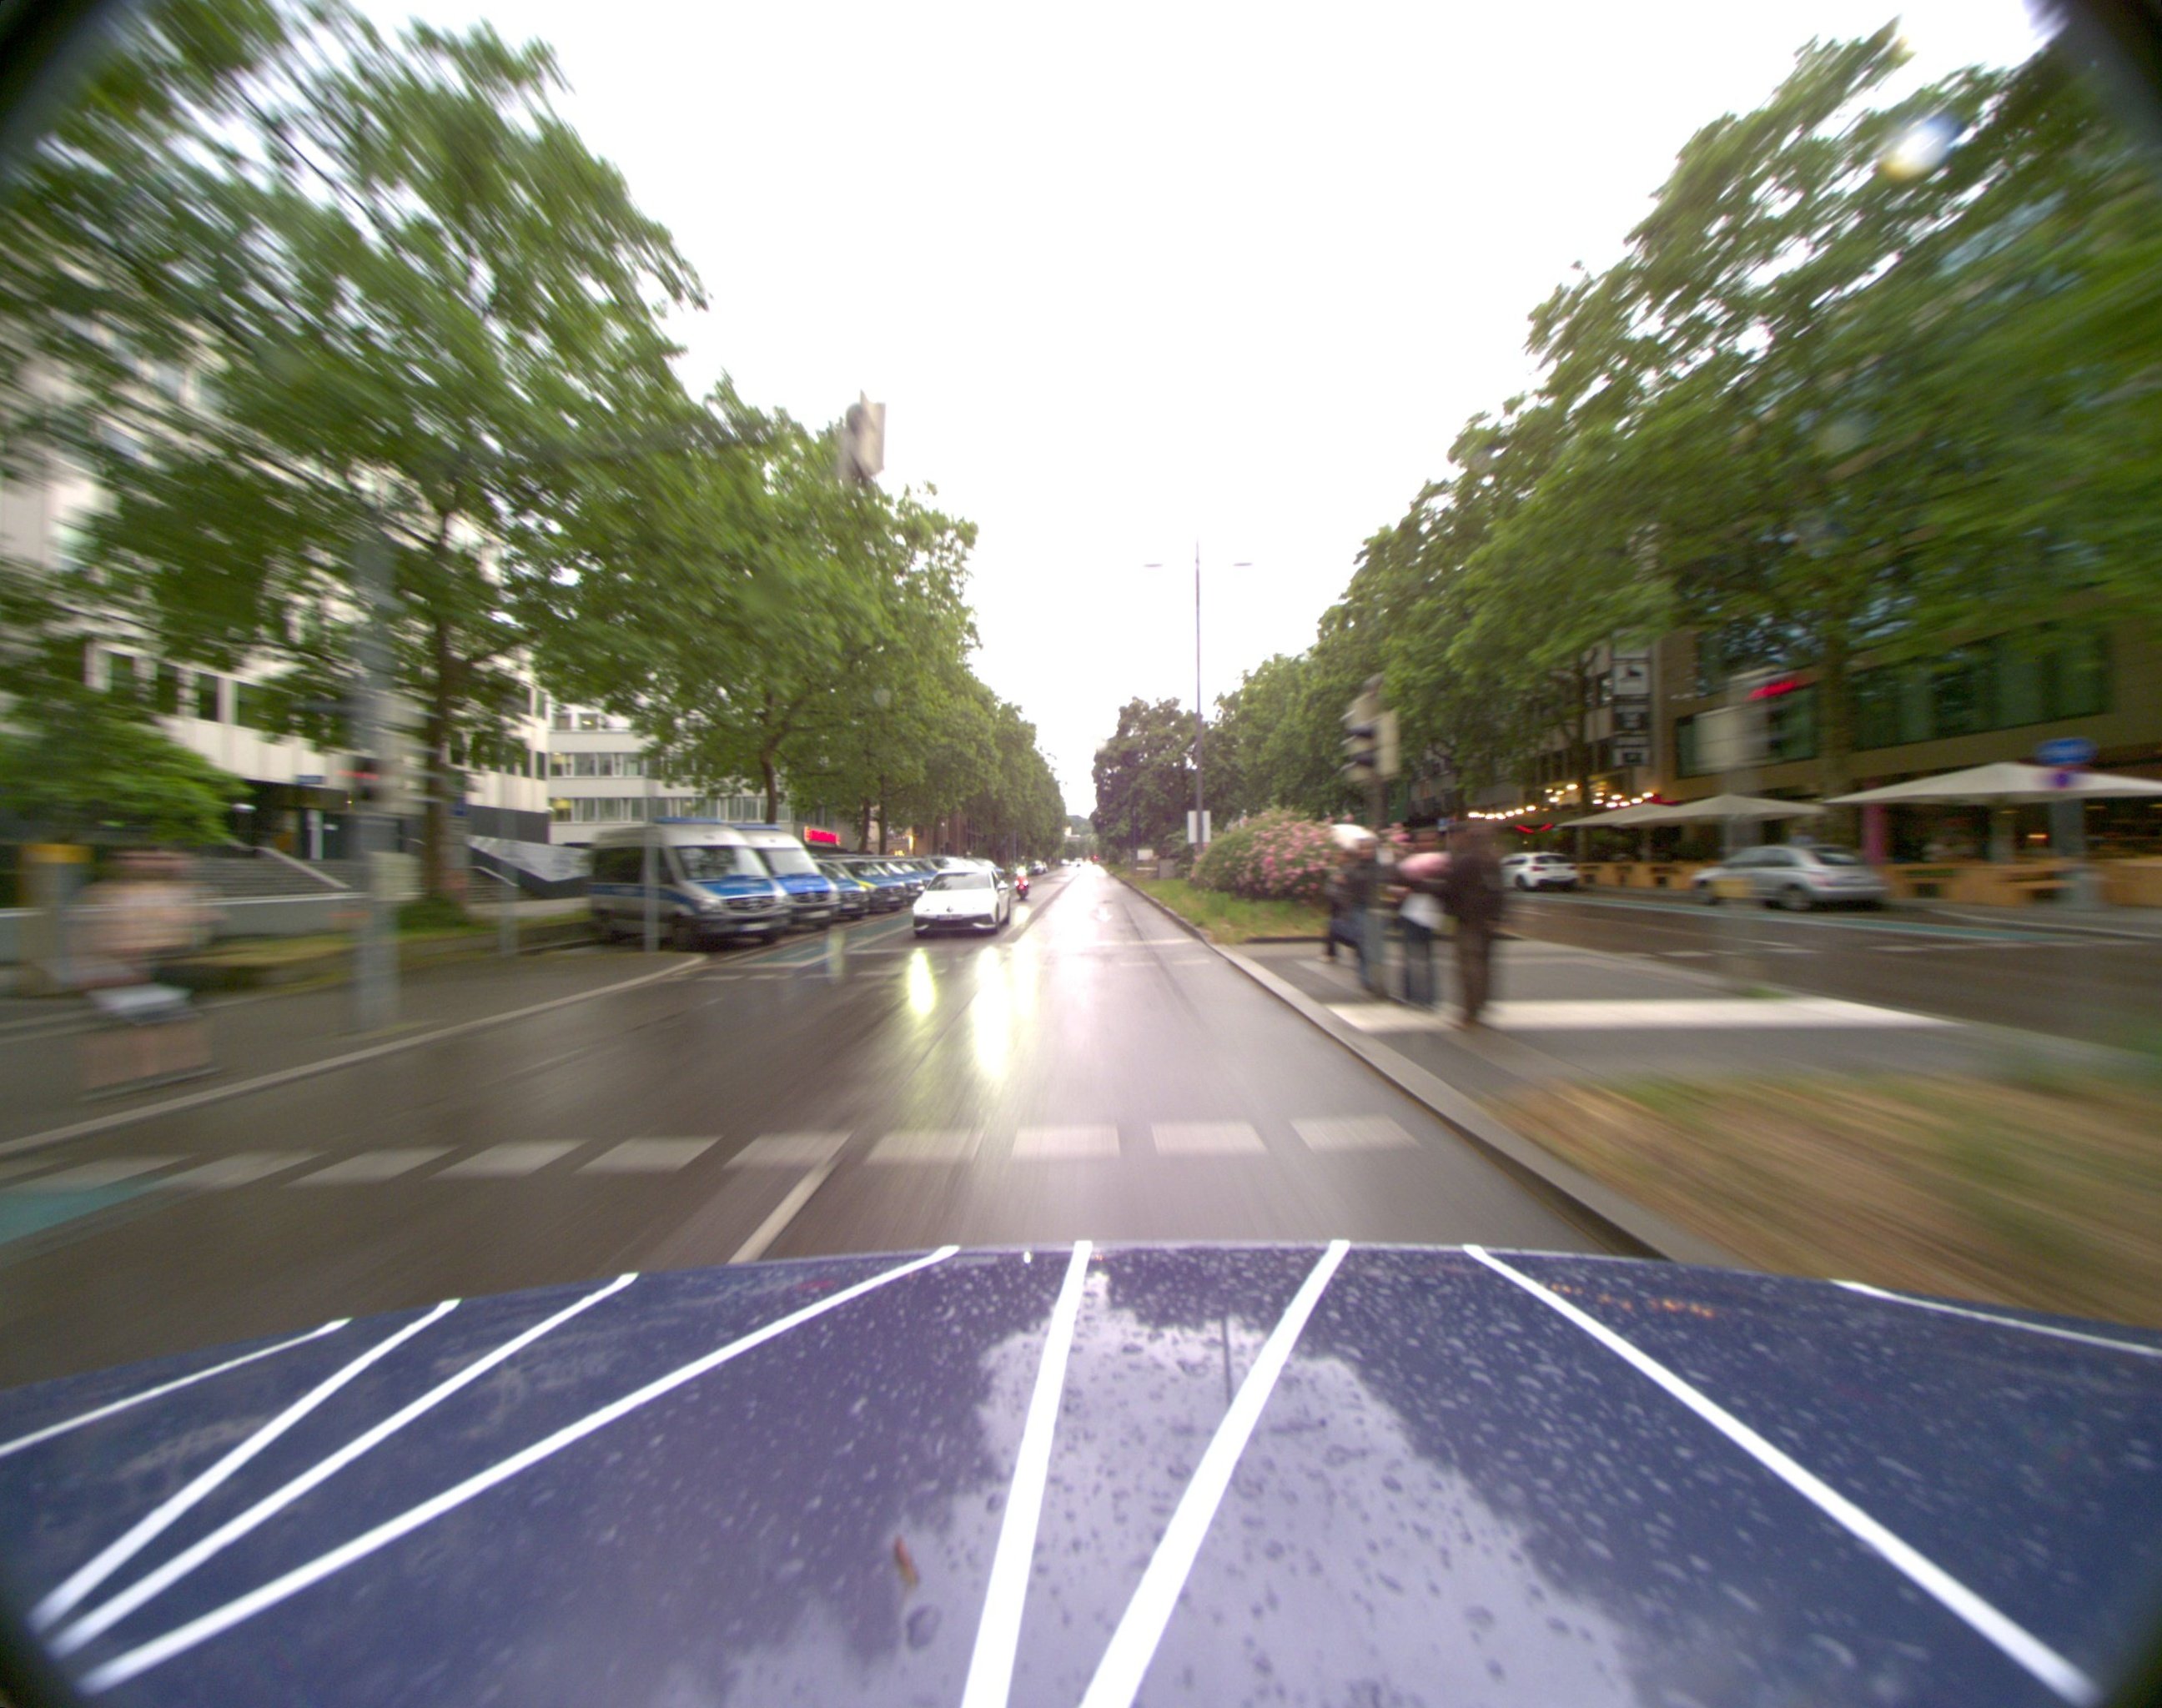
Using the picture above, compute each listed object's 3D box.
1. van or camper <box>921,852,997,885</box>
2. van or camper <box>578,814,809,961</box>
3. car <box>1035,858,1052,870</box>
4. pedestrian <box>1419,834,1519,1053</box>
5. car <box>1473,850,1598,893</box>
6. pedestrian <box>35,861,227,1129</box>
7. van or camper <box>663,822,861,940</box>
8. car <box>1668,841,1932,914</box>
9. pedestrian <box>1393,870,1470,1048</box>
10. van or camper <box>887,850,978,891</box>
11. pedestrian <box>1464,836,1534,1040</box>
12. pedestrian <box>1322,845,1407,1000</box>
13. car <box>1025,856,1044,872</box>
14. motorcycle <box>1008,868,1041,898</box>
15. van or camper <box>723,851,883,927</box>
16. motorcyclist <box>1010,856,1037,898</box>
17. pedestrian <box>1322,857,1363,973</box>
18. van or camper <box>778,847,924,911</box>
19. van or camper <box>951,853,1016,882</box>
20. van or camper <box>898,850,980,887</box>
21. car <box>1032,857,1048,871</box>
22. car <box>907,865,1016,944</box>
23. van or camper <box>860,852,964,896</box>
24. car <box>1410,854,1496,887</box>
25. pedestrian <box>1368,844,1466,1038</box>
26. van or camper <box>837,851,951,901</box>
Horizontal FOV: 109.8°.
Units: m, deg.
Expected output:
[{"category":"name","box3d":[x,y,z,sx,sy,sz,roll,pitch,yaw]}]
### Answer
[{"category":"van or camper","box3d":[-8.190,1.018,50.936,5.074,2.007,2.001,-3,0,38]},{"category":"van or camper","box3d":[-8.488,0.644,16.342,5.800,2.662,2.152,-1,0,39]},{"category":"car","box3d":[-4.839,1.242,98.914,1.747,1.424,4.586,-2,0,1]},{"category":"pedestrian","box3d":[3.125,0.692,6.137,0.575,1.688,0.404,-1,1,-11]},{"category":"car","box3d":[16.817,0.604,28.440,1.998,1.362,4.540,-3,0,1]},{"category":"pedestrian","box3d":[-6.863,0.968,5.525,0.607,1.820,0.564,-1,1,-8]},{"category":"van or camper","box3d":[-8.384,0.641,19.705,5.795,2.664,2.004,-1,0,37]},{"category":"car","box3d":[16.769,0.505,18.137,1.999,1.500,4.518,-1,0,-1]},{"category":"pedestrian","box3d":[2.986,0.869,6.484,0.424,1.442,0.385,-1,1,-17]},{"category":"van or camper","box3d":[-7.901,0.863,40.349,4.781,1.999,2.004,-1,1,37]},{"category":"pedestrian","box3d":[3.606,0.704,6.563,0.400,1.710,0.325,-1,1,-13]},{"category":"pedestrian","box3d":[3.140,0.730,8.427,0.613,1.632,0.604,-1,1,-21]},{"category":"car","box3d":[-5.080,1.087,83.033,1.797,1.593,4.423,-2,0,0]},{"category":"motorcycle","box3d":[-2.294,1.148,30.604,0.869,1.136,2.019,-2,0,-17]},{"category":"van or camper","box3d":[-8.402,0.962,22.770,5.002,2.002,2.004,-1,2,37]},{"category":"motorcyclist","box3d":[-2.326,0.926,30.641,0.850,1.635,0.870,-2,0,-17]},{"category":"pedestrian","box3d":[3.467,0.794,10.079,0.482,1.480,0.545,-1,1,19]},{"category":"van or camper","box3d":[-8.041,0.876,26.362,5.195,1.981,2.004,-2,1,36]},{"category":"van or camper","box3d":[-7.437,1.045,57.693,4.934,1.980,2.006,-2,0,39]},{"category":"van or camper","box3d":[-8.243,0.862,43.906,4.841,1.986,1.871,-2,0,38]},{"category":"car","box3d":[-4.765,1.126,88.089,1.756,1.576,4.409,-2,0,-3]},{"category":"car","box3d":[-2.620,1.061,17.658,1.866,1.436,4.508,-4,0,-2]},{"category":"van or camper","box3d":[-8.255,0.938,36.949,5.010,1.984,2.004,-1,0,34]},{"category":"car","box3d":[16.932,0.724,34.840,1.829,1.386,4.484,-1,0,1]},{"category":"pedestrian","box3d":[2.962,0.735,6.722,0.630,1.633,0.444,-1,1,-13]},{"category":"van or camper","box3d":[-8.231,0.921,33.226,5.093,2.013,2.110,-1,0,39]}]
